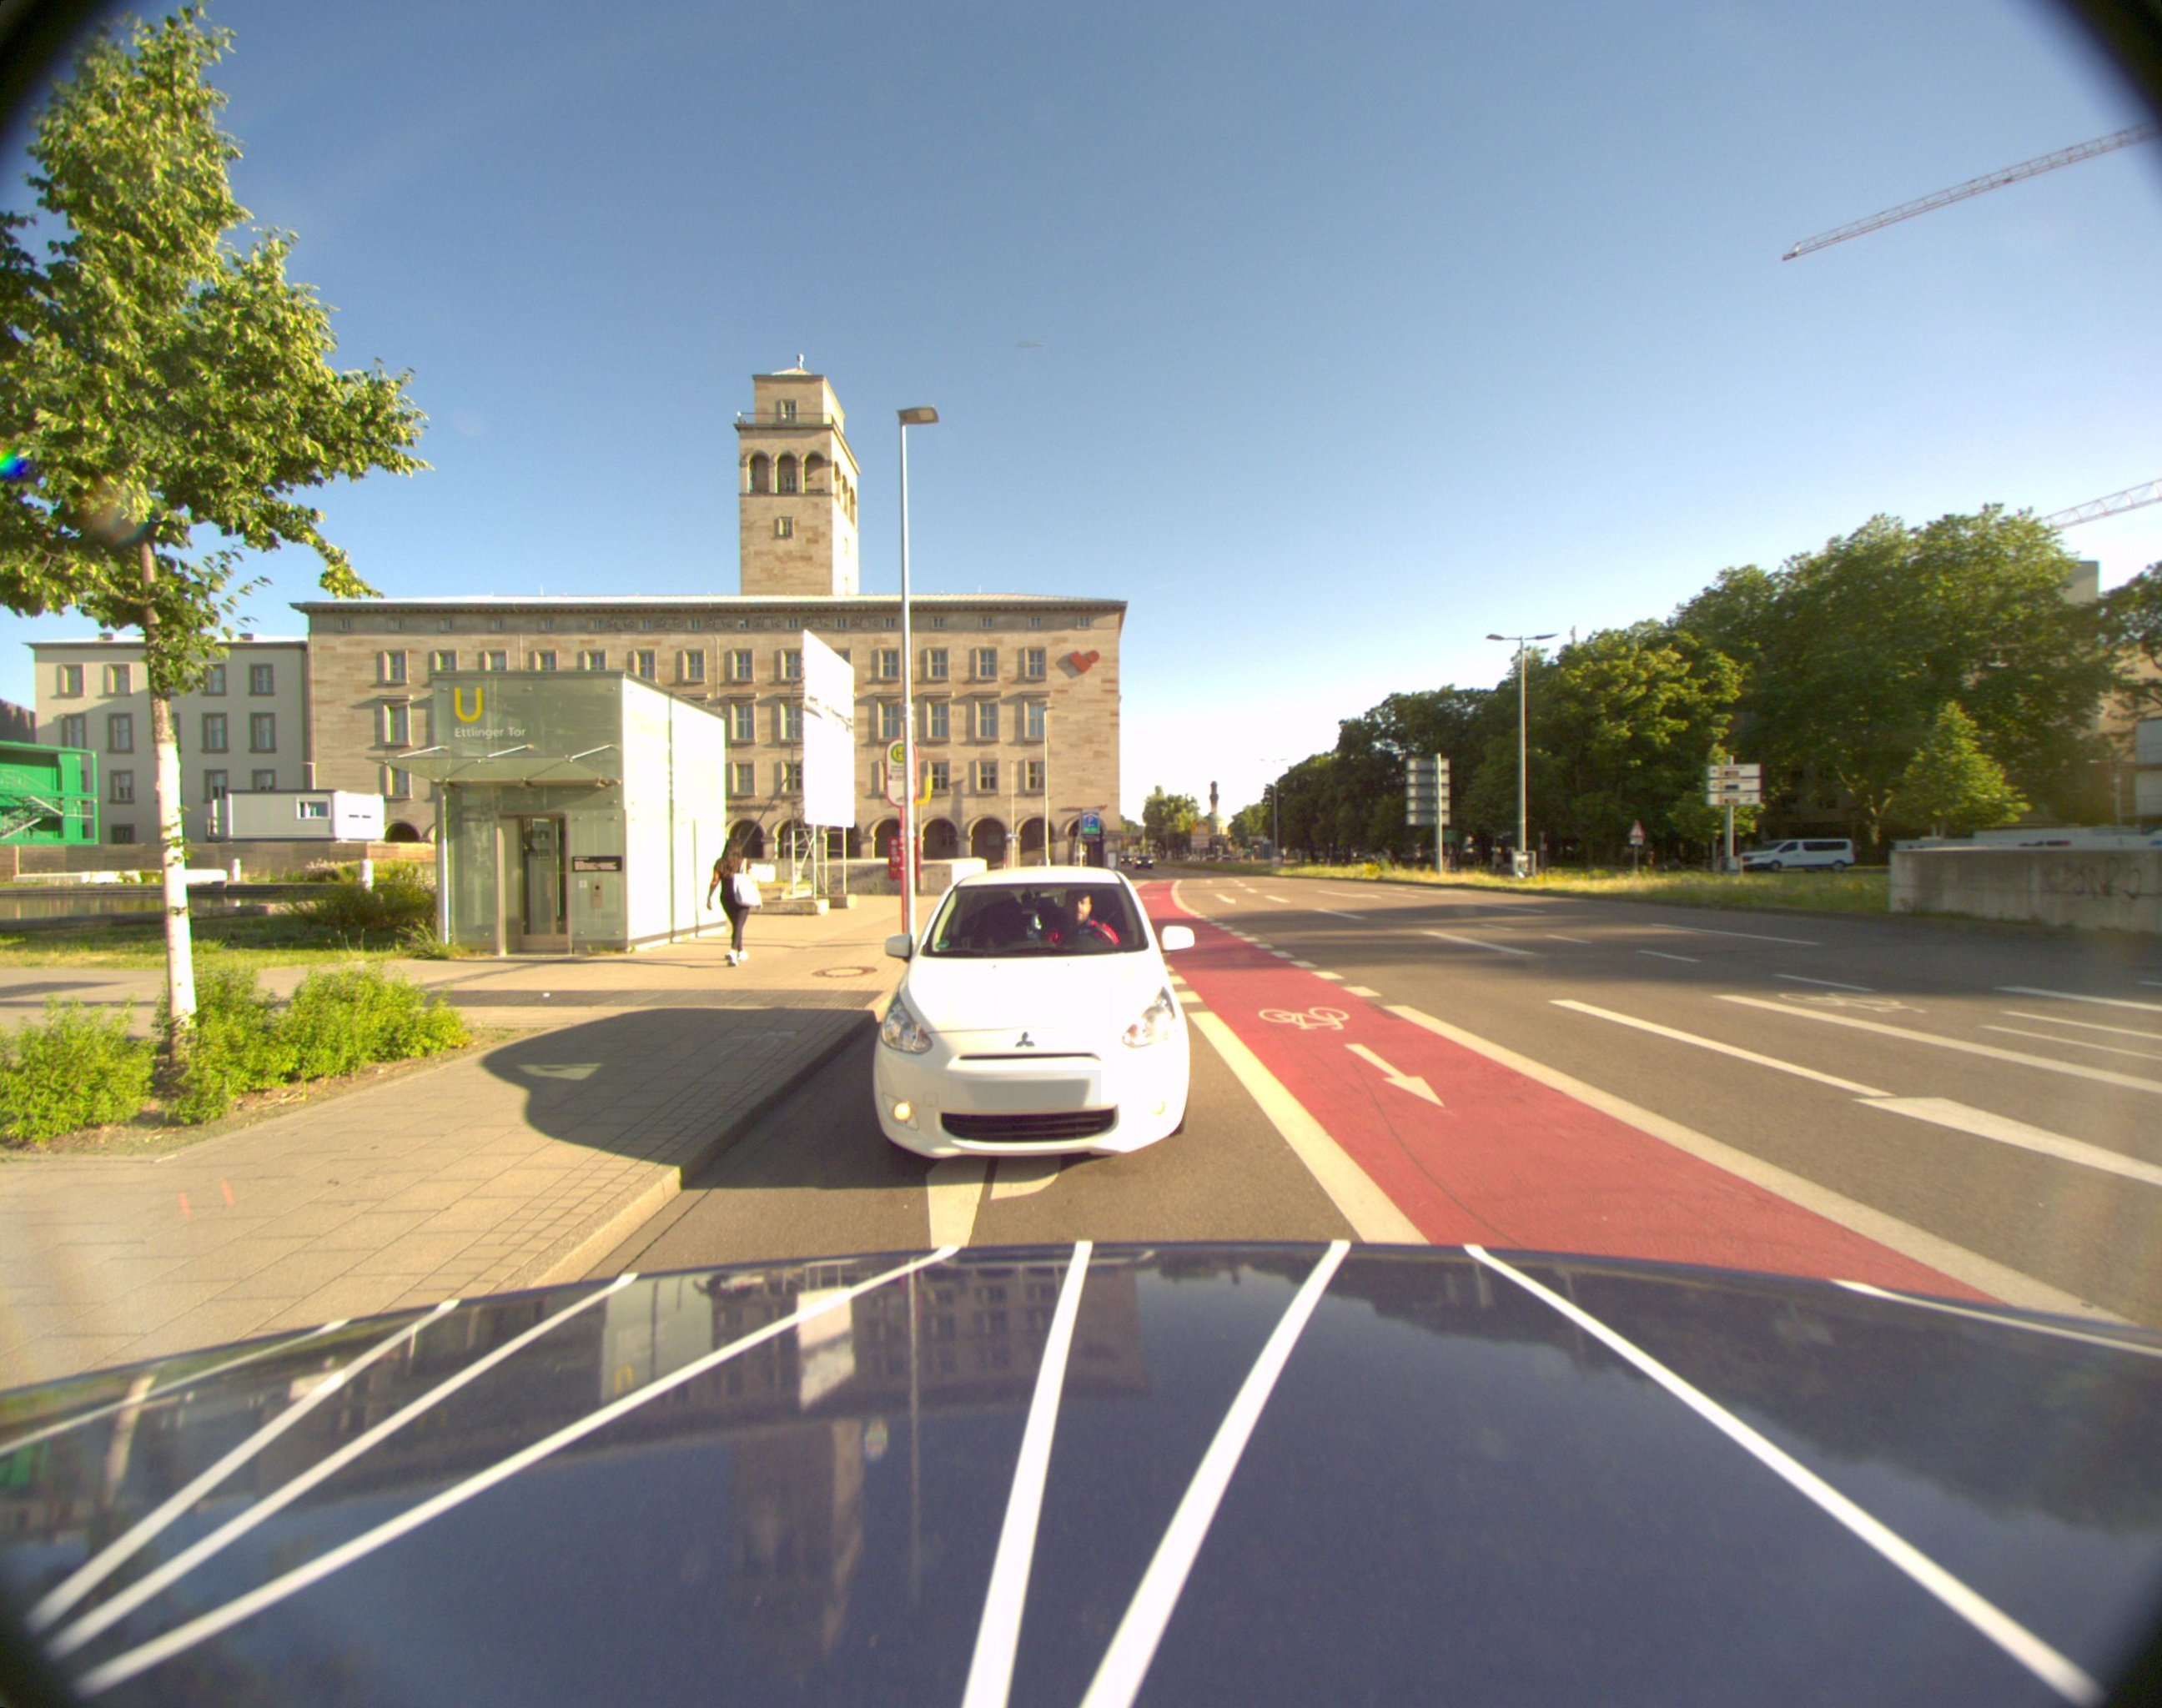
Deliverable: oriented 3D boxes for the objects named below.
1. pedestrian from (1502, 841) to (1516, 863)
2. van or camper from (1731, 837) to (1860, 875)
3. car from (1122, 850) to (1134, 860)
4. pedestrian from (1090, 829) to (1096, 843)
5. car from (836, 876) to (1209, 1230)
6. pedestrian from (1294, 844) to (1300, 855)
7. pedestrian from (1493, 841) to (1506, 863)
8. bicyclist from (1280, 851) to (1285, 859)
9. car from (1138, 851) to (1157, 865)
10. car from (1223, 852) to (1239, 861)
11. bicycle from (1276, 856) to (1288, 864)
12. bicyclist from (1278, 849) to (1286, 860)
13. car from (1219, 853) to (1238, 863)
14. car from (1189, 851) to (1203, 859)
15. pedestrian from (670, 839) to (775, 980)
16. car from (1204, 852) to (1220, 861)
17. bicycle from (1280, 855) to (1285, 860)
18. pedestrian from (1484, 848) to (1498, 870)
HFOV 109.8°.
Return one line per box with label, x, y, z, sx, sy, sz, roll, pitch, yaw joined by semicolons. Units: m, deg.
pedestrian;33.573;-0.163;59.575;0.707;1.715;0.762;-1;1;1
van or camper;42.307;0.085;45.081;5.649;2.002;1.948;-2;1;2
car;8.133;0.178;131.708;1.998;1.709;4.326;-1;0;1
pedestrian;1.599;-2.369;100.182;0.704;1.843;0.828;-1;1;0
car;-0.417;0.966;5.474;1.679;1.440;3.887;-2;0;-5
pedestrian;36.985;-0.756;129.973;0.927;1.837;0.626;-1;1;-37
pedestrian;32.822;-0.159;59.587;0.665;1.715;0.762;-1;1;1
bicyclist;33.014;0.143;124.464;0.609;1.274;0.716;0;1;24
car;8.036;0.491;92.538;1.937;1.634;4.616;-1;0;0
car;25.182;0.361;127.605;1.998;1.499;4.000;-1;0;2
bicycle;24.208;0.726;91.557;0.639;1.016;2.242;-1;0;-4
bicyclist;24.230;0.062;91.732;0.639;1.275;0.885;-1;1;-4
car;21.502;0.578;110.637;1.872;1.390;3.999;-1;0;-1
car;20.644;0.170;136.436;1.873;1.390;3.999;-1;0;-2
pedestrian;-4.770;0.707;10.203;0.942;1.776;1.072;-1;0;-6
car;21.001;0.465;122.258;1.872;1.390;3.999;-1;0;0
bicycle;33.018;0.572;124.472;0.609;0.838;1.749;0;0;24
pedestrian;32.123;0.406;59.580;0.707;1.715;0.762;-1;1;1
